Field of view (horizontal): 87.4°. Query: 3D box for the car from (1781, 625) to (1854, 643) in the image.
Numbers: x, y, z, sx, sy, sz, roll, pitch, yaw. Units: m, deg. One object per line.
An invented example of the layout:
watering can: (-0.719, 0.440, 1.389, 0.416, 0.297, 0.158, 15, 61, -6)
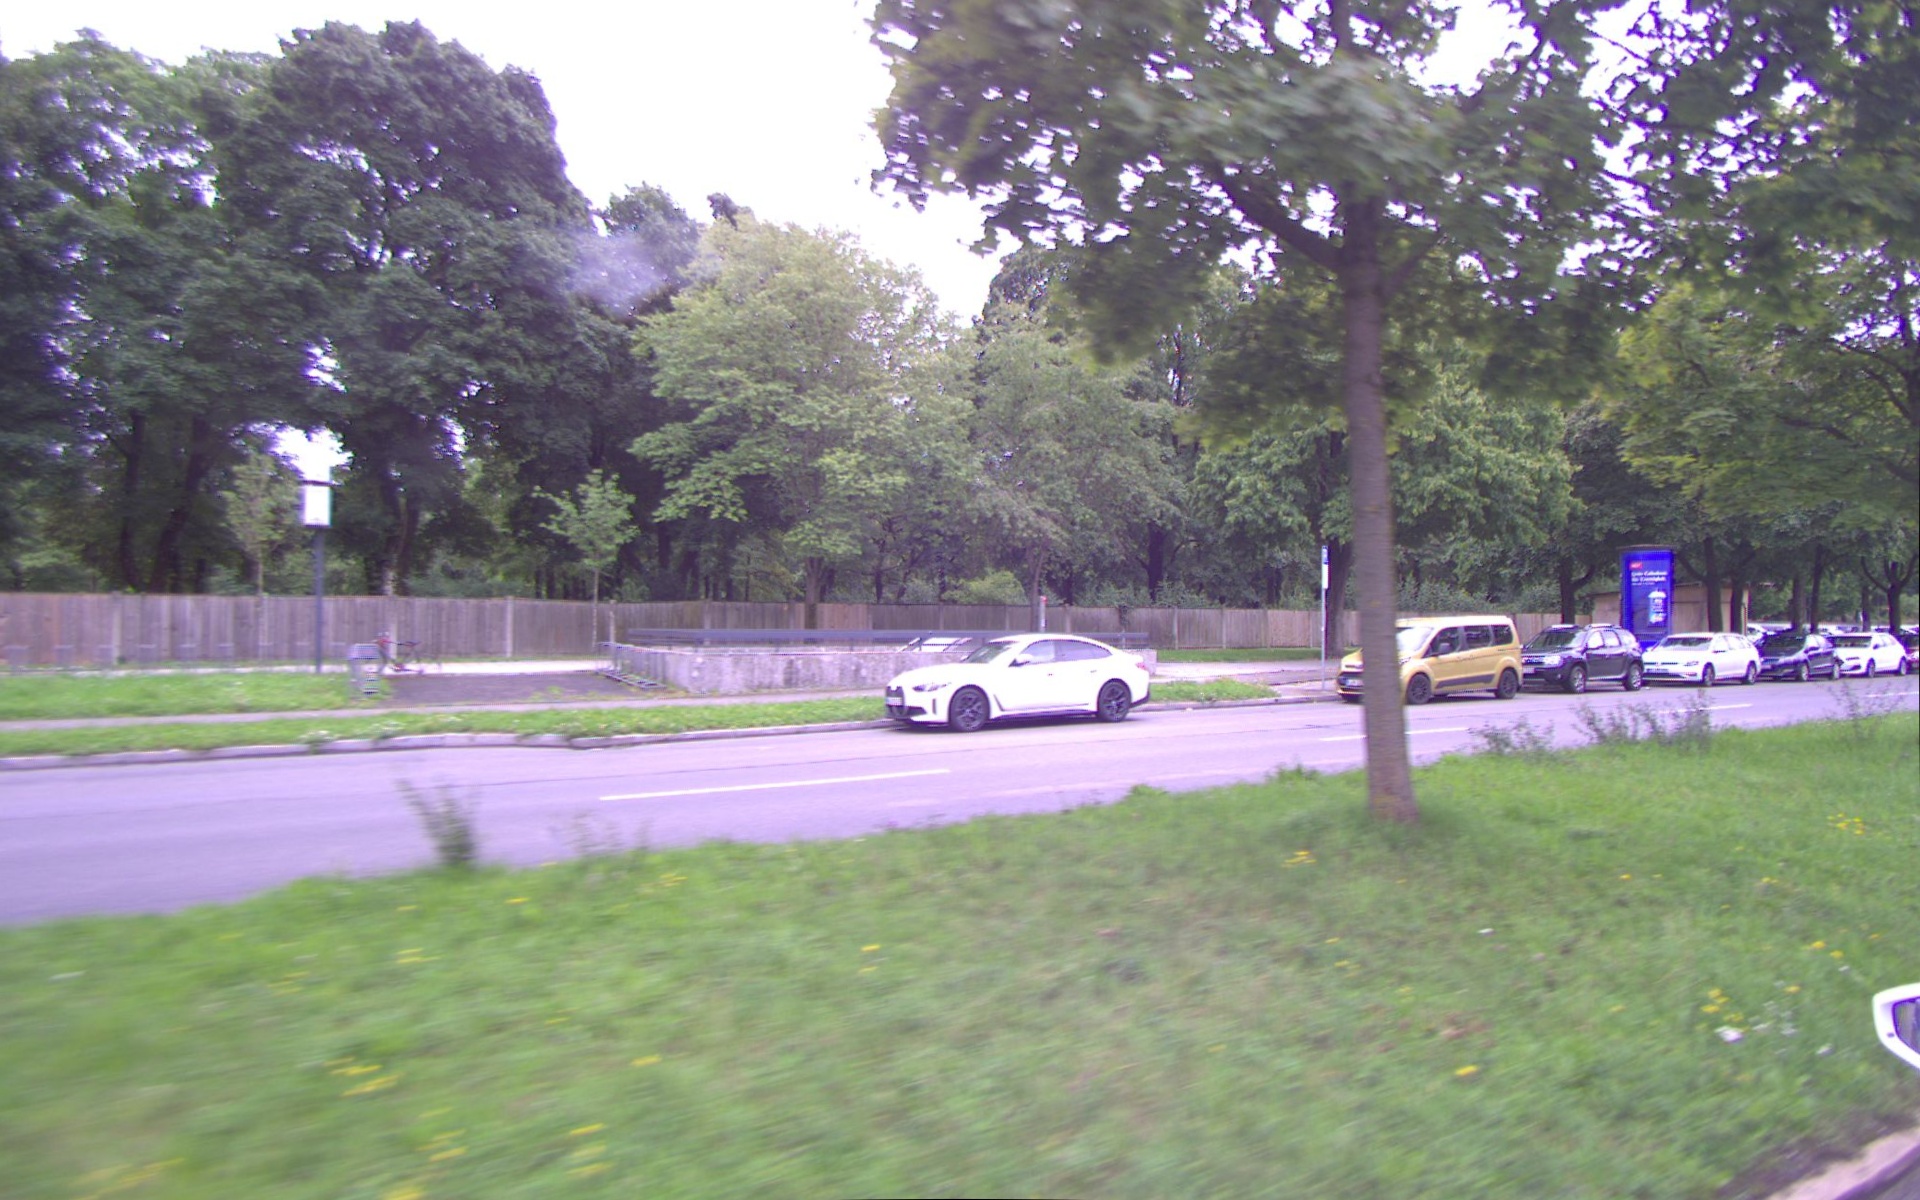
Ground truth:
car: (76.314, 2.987, 89.494, 1.652, 1.465, 4.671, 1, 0, -29)

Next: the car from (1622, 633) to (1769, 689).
car: (20.813, 1.680, 28.384, 4.480, 1.468, 1.754, 1, -3, -31)

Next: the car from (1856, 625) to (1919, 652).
car: (65.270, 2.646, 70.007, 1.656, 1.740, 3.893, 1, 0, -35)

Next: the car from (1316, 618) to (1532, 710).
car: (10.126, 1.325, 21.837, 4.759, 1.806, 1.807, 1, -2, -29)

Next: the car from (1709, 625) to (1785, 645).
car: (51.788, 2.275, 66.234, 1.639, 1.217, 4.421, 1, -1, 2)

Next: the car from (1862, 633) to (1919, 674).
car: (34.657, 1.929, 36.586, 3.585, 1.415, 1.584, 1, -3, -29)

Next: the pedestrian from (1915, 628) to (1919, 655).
pedestrian: (55.494, 2.370, 57.705, 0.712, 1.554, 0.724, 1, 0, -29)

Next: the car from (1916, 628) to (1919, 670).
car: (39.564, 1.900, 39.529, 4.320, 1.607, 1.682, 1, -3, -31)

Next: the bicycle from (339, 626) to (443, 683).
bicycle: (-11.493, 1.084, 20.342, 1.803, 1.115, 0.429, 1, 0, -30)

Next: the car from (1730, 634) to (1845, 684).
car: (25.427, 1.776, 30.854, 3.855, 1.436, 1.604, 1, -3, -33)

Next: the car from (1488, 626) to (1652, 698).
car: (15.298, 1.499, 25.152, 4.206, 1.667, 1.728, 1, -3, -31)

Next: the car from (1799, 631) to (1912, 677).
car: (30.364, 1.809, 34.023, 4.228, 1.463, 1.600, 1, -3, -30)

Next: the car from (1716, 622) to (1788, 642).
car: (66.750, 2.695, 84.763, 1.652, 1.496, 4.487, 2, -1, -29)

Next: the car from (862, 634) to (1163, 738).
car: (0.939, 1.336, 16.704, 4.818, 1.492, 1.848, 1, -3, -31)
